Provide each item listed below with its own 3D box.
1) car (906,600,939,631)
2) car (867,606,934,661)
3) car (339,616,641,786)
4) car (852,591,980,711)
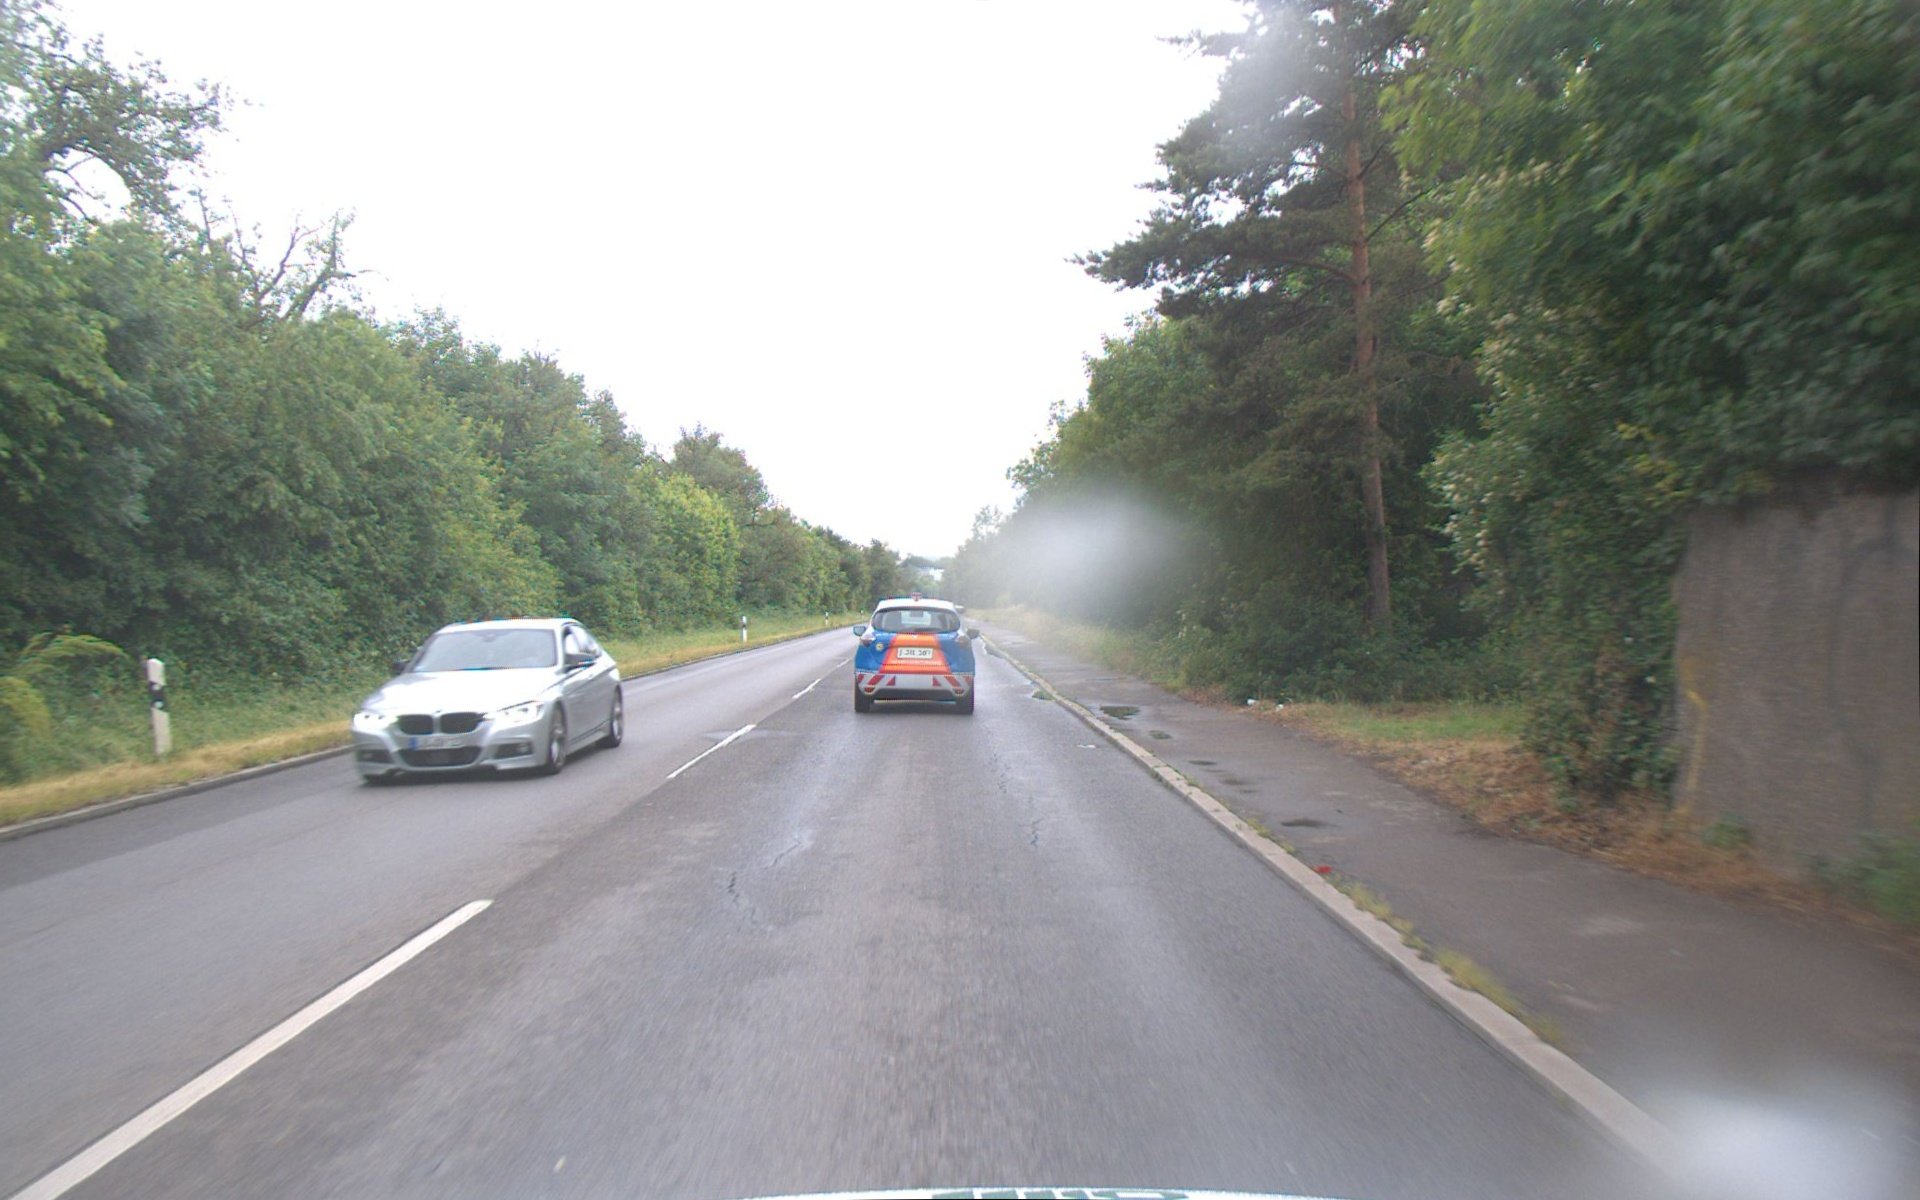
[{"bbox_3d":[-2.302,0.941,102.018,1.902,1.753,4.063,-2,0,0],"label":"car"},{"bbox_3d":[-1.490,0.820,42.253,1.566,1.309,3.476,-2,0,0],"label":"car"},{"bbox_3d":[-4.447,0.888,16.379,1.853,1.378,4.380,-1,0,-2],"label":"car"},{"bbox_3d":[-0.620,0.681,24.172,1.716,1.583,3.792,0,1,-1],"label":"car"}]
